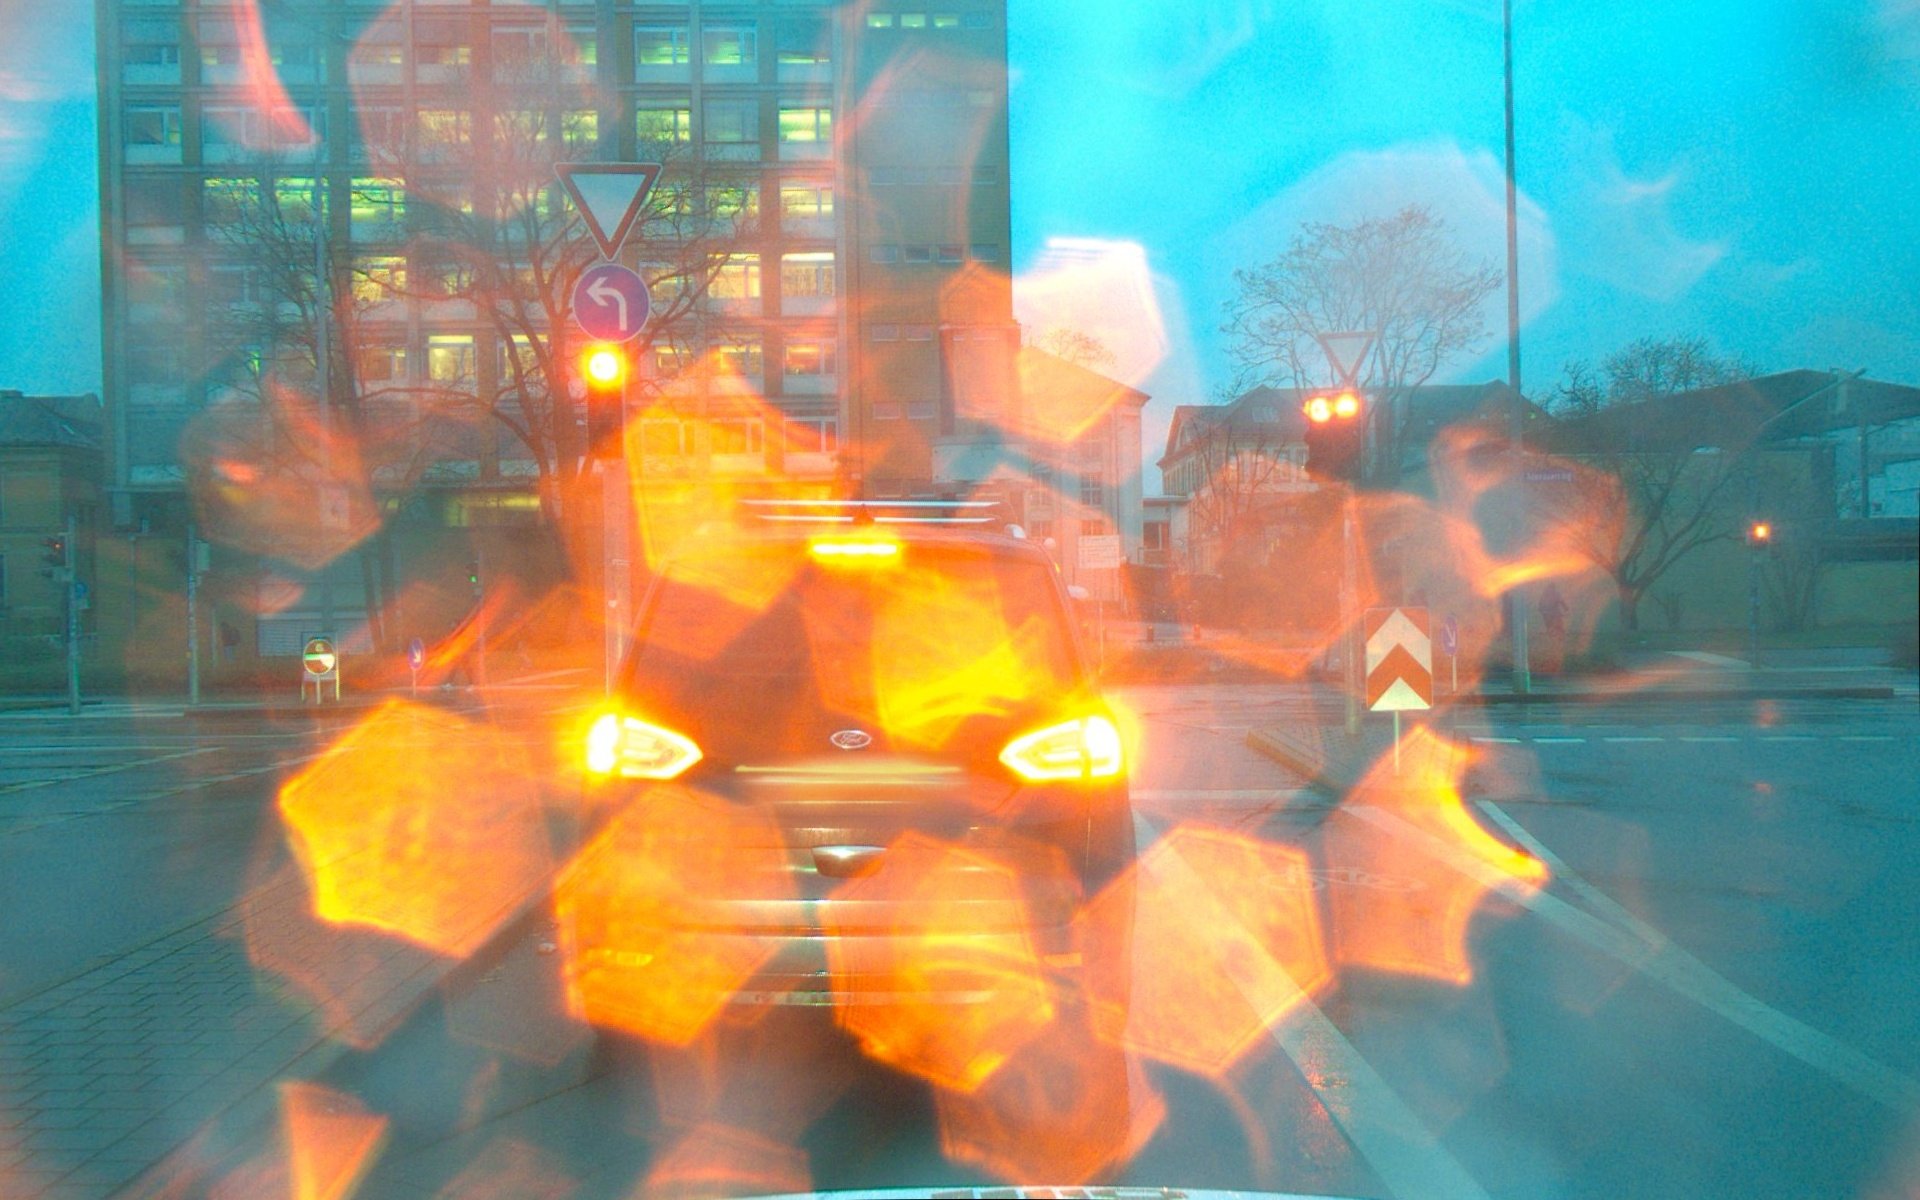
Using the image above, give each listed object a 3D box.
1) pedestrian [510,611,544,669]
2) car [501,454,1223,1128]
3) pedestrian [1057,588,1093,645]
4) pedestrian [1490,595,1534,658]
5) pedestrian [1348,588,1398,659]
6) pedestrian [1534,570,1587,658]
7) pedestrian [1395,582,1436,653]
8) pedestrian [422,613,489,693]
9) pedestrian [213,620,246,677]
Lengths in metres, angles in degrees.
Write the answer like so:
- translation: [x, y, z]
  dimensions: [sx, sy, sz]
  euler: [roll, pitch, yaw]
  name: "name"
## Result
- translation: [-12.644, 1.165, 48.290]
  dimensions: [0.743, 1.656, 0.558]
  euler: [-2, 0, 16]
  name: "pedestrian"
- translation: [-0.292, 0.536, 6.544]
  dimensions: [1.953, 1.821, 3.999]
  euler: [1, 0, -1]
  name: "car"
- translation: [3.413, 0.493, 49.158]
  dimensions: [0.709, 1.656, 0.757]
  euler: [-2, 0, 45]
  name: "pedestrian"
- translation: [14.107, 0.666, 42.287]
  dimensions: [0.905, 1.559, 1.044]
  euler: [-2, 0, 11]
  name: "pedestrian"
- translation: [10.502, 0.590, 42.046]
  dimensions: [1.111, 1.750, 0.982]
  euler: [-2, 0, 10]
  name: "pedestrian"
- translation: [15.043, 0.344, 41.426]
  dimensions: [0.887, 2.150, 0.873]
  euler: [-2, 0, -39]
  name: "pedestrian"
- translation: [12.017, 0.452, 43.618]
  dimensions: [0.975, 1.831, 0.920]
  euler: [-2, 0, 17]
  name: "pedestrian"
- translation: [-12.502, 1.303, 41.012]
  dimensions: [0.981, 1.874, 1.138]
  euler: [-2, 3, 25]
  name: "pedestrian"
- translation: [-22.613, 1.492, 51.227]
  dimensions: [0.625, 1.718, 0.637]
  euler: [-2, 0, 16]
  name: "pedestrian"
